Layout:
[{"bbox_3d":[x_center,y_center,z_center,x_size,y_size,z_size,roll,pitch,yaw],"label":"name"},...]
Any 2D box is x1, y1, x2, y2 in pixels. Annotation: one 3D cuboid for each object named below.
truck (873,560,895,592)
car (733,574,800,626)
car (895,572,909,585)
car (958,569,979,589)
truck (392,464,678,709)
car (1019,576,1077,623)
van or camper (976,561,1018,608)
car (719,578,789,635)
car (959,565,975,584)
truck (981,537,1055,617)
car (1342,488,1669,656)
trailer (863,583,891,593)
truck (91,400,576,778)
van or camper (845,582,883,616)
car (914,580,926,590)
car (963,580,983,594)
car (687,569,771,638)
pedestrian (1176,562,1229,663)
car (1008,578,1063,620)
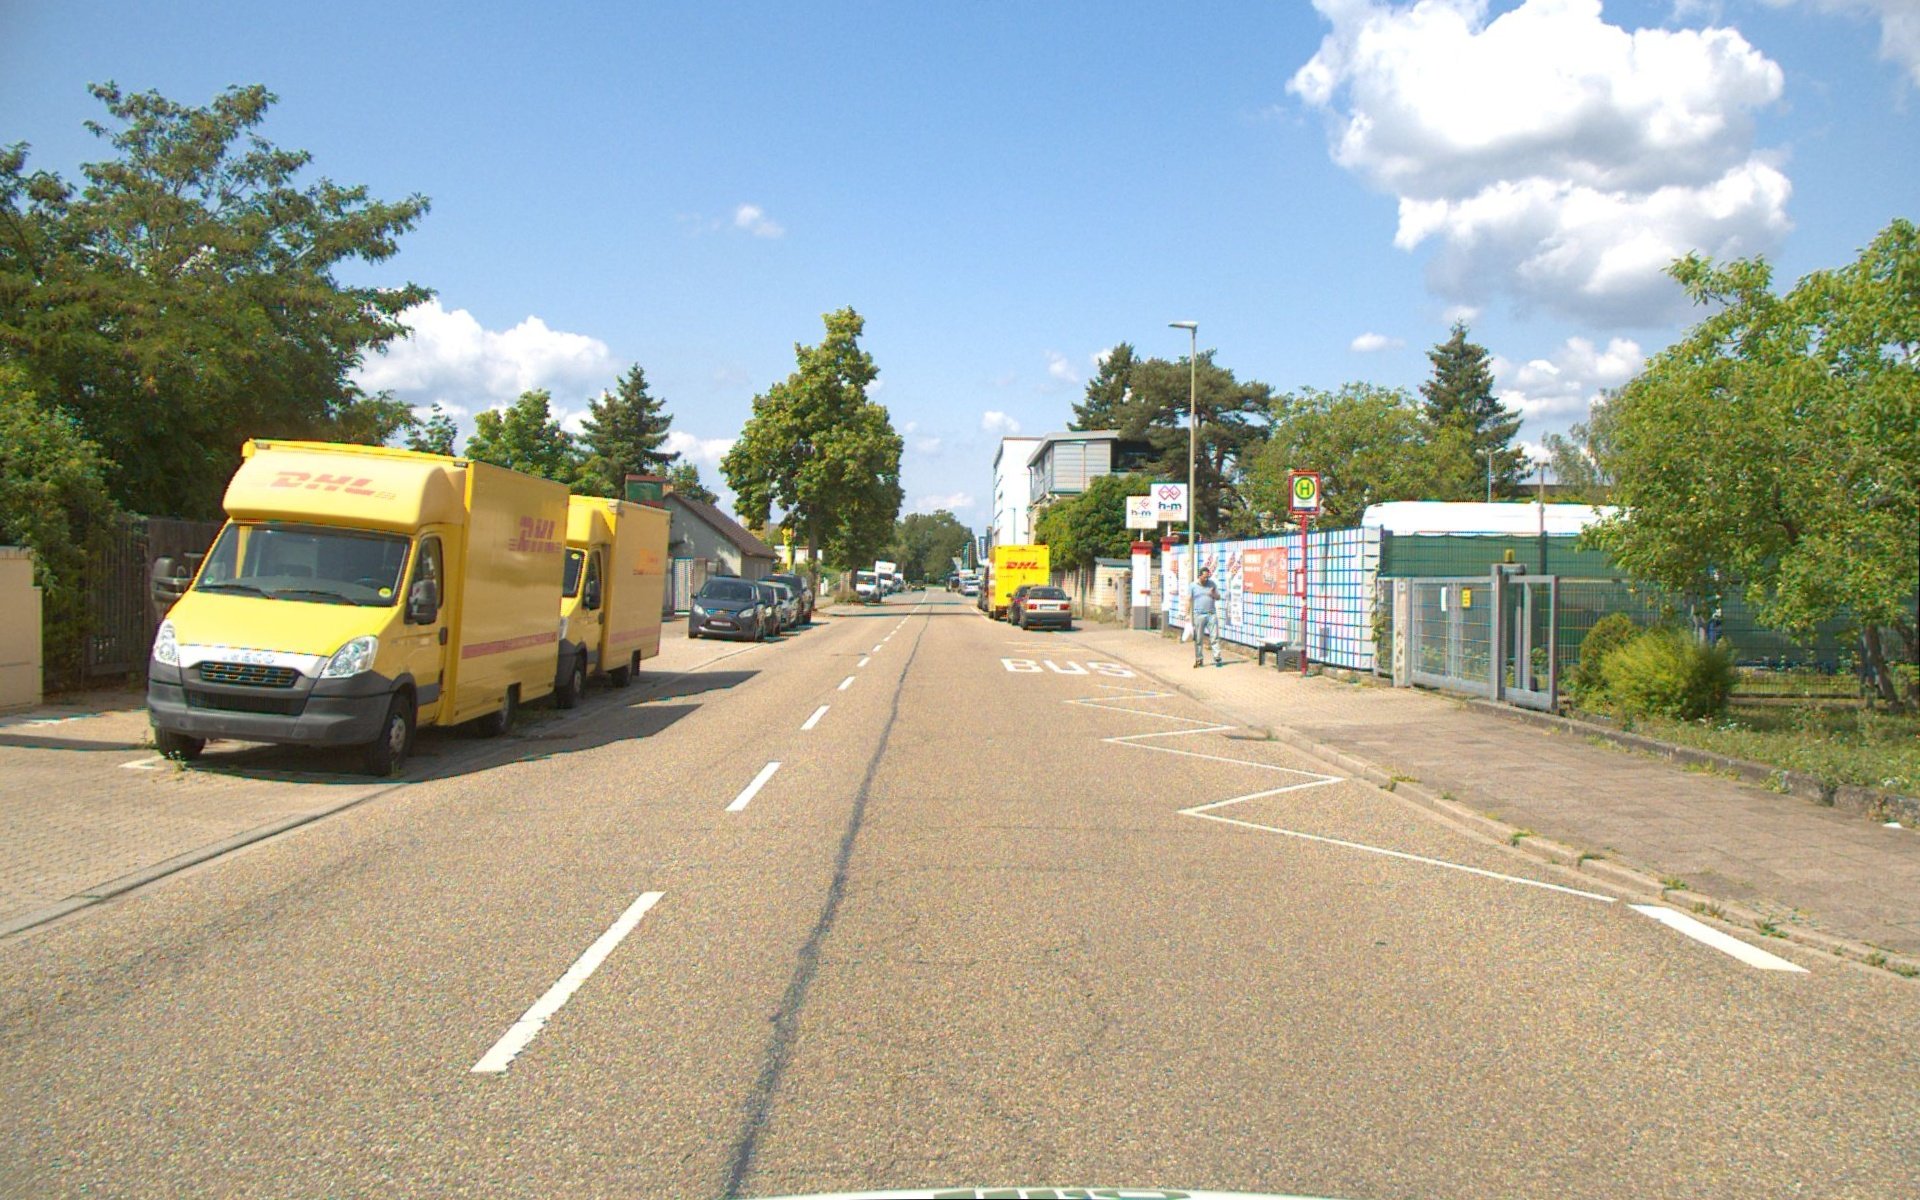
[{"bbox_3d":[-7.813,-2.494,171.146,1.988,3.209,6.499,0,1,-1],"label":"truck"},{"bbox_3d":[-6.363,-0.044,54.828,1.698,1.544,4.742,3,1,-1],"label":"car"},{"bbox_3d":[-7.409,-2.776,211.380,1.678,1.679,4.000,0,1,-1],"label":"car"},{"bbox_3d":[0.891,-2.174,173.091,2.171,2.049,5.485,0,1,-1],"label":"car"},{"bbox_3d":[-5.850,-0.218,23.962,2.269,2.912,7.103,3,1,-1],"label":"truck"},{"bbox_3d":[2.887,-0.056,55.007,1.618,1.411,4.423,2,1,-1],"label":"car"},{"bbox_3d":[1.906,-0.837,86.850,1.953,2.331,5.447,2,1,-1],"label":"van or camper"},{"bbox_3d":[-6.078,0.165,49.102,1.595,1.473,4.026,5,1,-2],"label":"car"},{"bbox_3d":[0.763,-2.843,183.404,1.673,2.126,3.999,0,1,-1],"label":"car"},{"bbox_3d":[2.244,-0.932,66.704,2.424,2.991,7.186,2,1,-2],"label":"truck"},{"bbox_3d":[9.113,-0.452,27.823,4.815,2.698,2.069,0,1,-9],"label":"car"},{"bbox_3d":[-7.893,-1.129,157.062,2.368,0.827,5.537,2,1,0],"label":"trailer"},{"bbox_3d":[-5.765,-0.101,16.630,2.223,2.904,7.172,2,0,-1],"label":"truck"},{"bbox_3d":[-7.299,-0.129,126.150,2.128,2.455,7.700,1,1,2],"label":"van or camper"},{"bbox_3d":[-5.339,-2.039,221.633,1.621,1.348,4.416,0,1,-1],"label":"car"},{"bbox_3d":[1.223,-1.243,159.204,1.889,1.333,4.000,0,1,-1],"label":"car"},{"bbox_3d":[-6.090,0.060,44.031,1.690,1.632,4.412,4,1,-3],"label":"car"},{"bbox_3d":[4.329,0.219,29.566,0.702,1.726,0.522,-5,1,-5],"label":"pedestrian"},{"bbox_3d":[2.694,-0.061,59.776,1.628,1.466,4.282,0,1,-2],"label":"car"}]
